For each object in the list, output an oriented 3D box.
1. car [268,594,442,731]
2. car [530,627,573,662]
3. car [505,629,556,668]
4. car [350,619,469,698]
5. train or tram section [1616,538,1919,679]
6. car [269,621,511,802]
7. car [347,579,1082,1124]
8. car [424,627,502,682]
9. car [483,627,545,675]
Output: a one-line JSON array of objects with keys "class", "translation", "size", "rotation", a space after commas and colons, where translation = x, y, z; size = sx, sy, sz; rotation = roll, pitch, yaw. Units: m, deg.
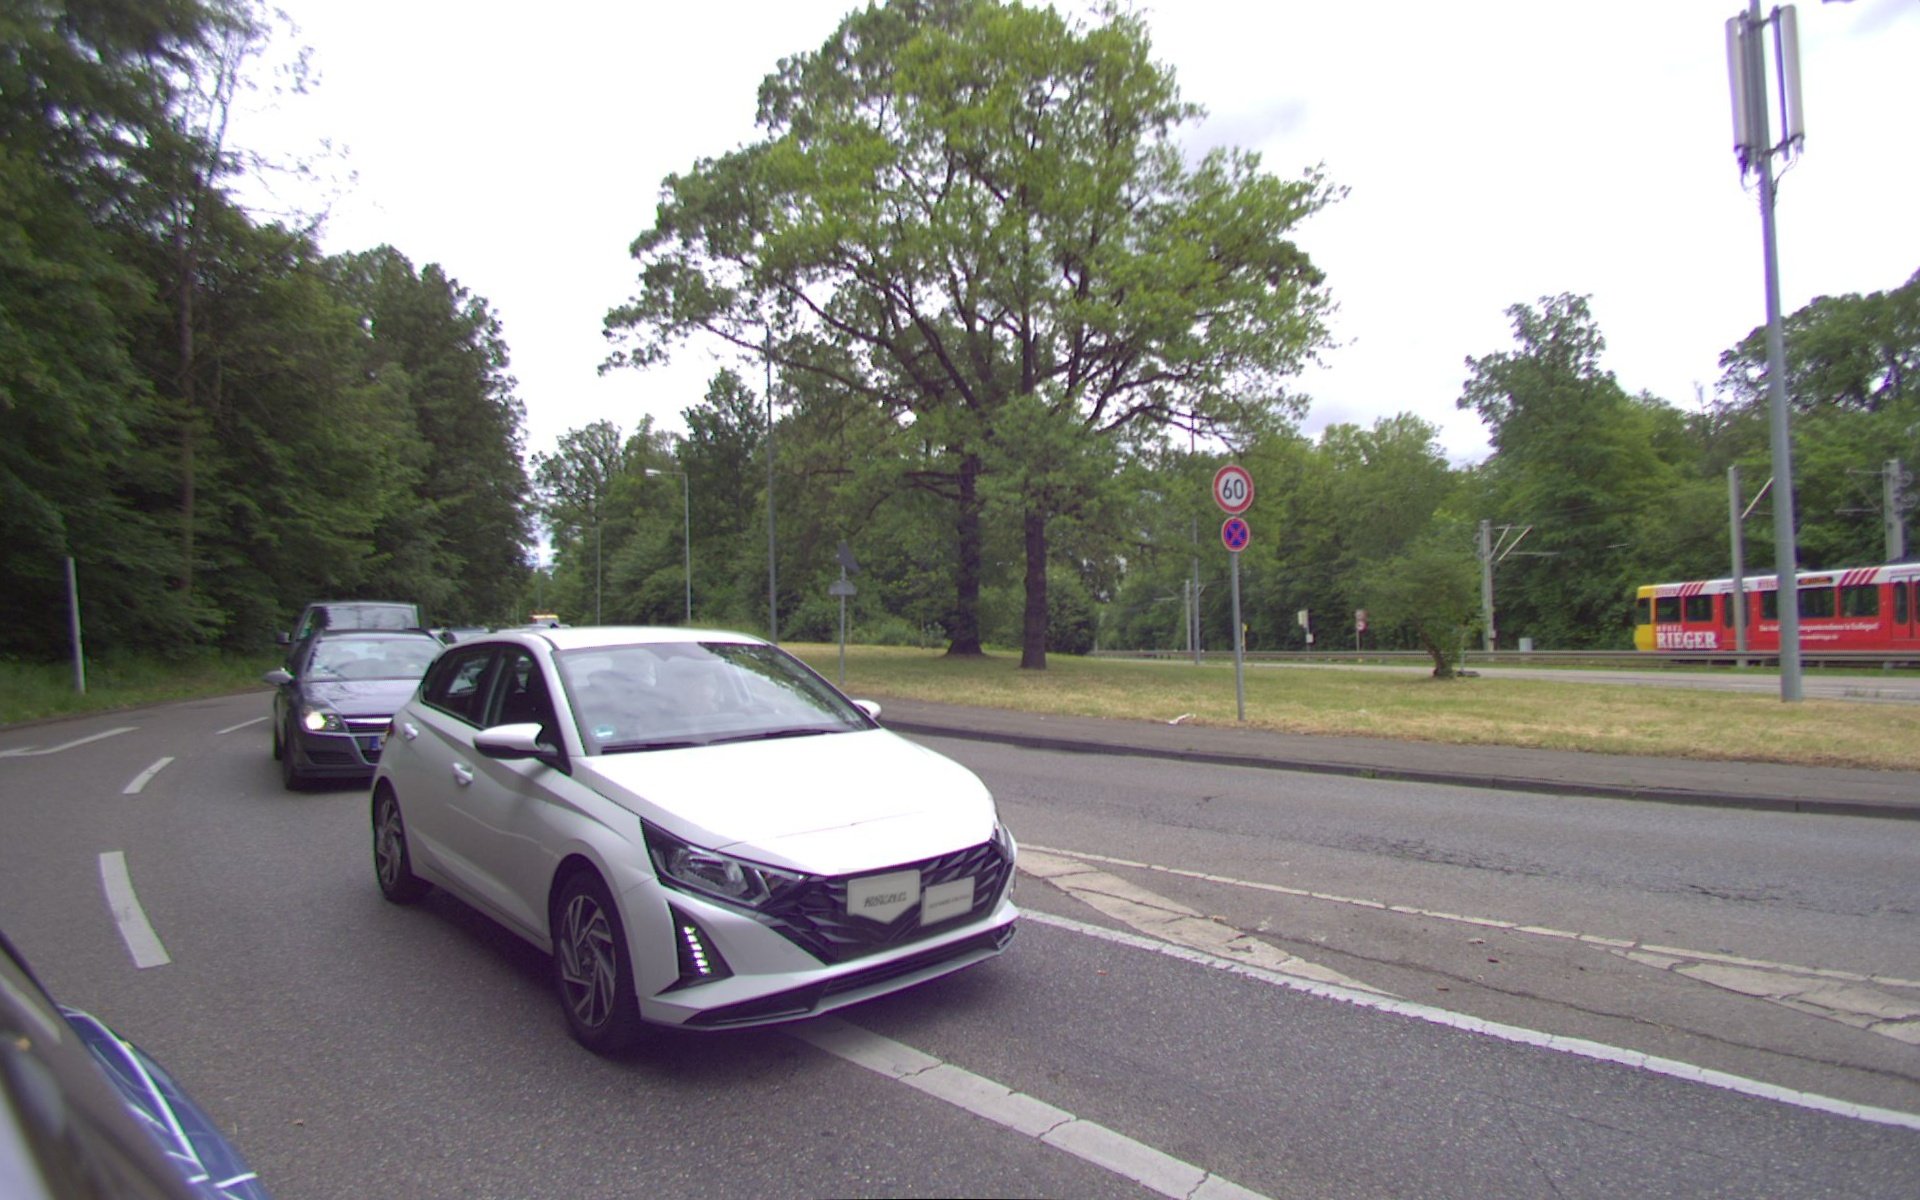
[{"class": "car", "translation": [-9.613, 0.950, 16.441], "size": [1.957, 1.887, 4.546], "rotation": [1, -2, -25]}, {"class": "car", "translation": [-18.651, 2.023, 46.269], "size": [1.749, 1.511, 3.885], "rotation": [0, -2, -21]}, {"class": "car", "translation": [-17.381, 1.951, 41.105], "size": [1.749, 1.511, 3.885], "rotation": [0, -2, -21]}, {"class": "car", "translation": [-13.032, 1.345, 24.181], "size": [1.763, 1.687, 4.003], "rotation": [0, -2, -18]}, {"class": "train or tram section", "translation": [31.597, 0.293, 36.534], "size": [2.922, 4.452, 18.739], "rotation": [0, 0, -2]}, {"class": "car", "translation": [-6.162, 0.998, 10.674], "size": [1.774, 1.490, 4.481], "rotation": [1, -2, -35]}, {"class": "car", "translation": [-1.510, 0.761, 4.848], "size": [1.630, 1.490, 4.077], "rotation": [2, -3, -43]}, {"class": "car", "translation": [-14.789, 1.596, 30.271], "size": [1.749, 1.511, 3.885], "rotation": [0, -2, -21]}, {"class": "car", "translation": [-15.196, 1.713, 34.637], "size": [1.749, 1.511, 3.885], "rotation": [0, -2, -21]}]
